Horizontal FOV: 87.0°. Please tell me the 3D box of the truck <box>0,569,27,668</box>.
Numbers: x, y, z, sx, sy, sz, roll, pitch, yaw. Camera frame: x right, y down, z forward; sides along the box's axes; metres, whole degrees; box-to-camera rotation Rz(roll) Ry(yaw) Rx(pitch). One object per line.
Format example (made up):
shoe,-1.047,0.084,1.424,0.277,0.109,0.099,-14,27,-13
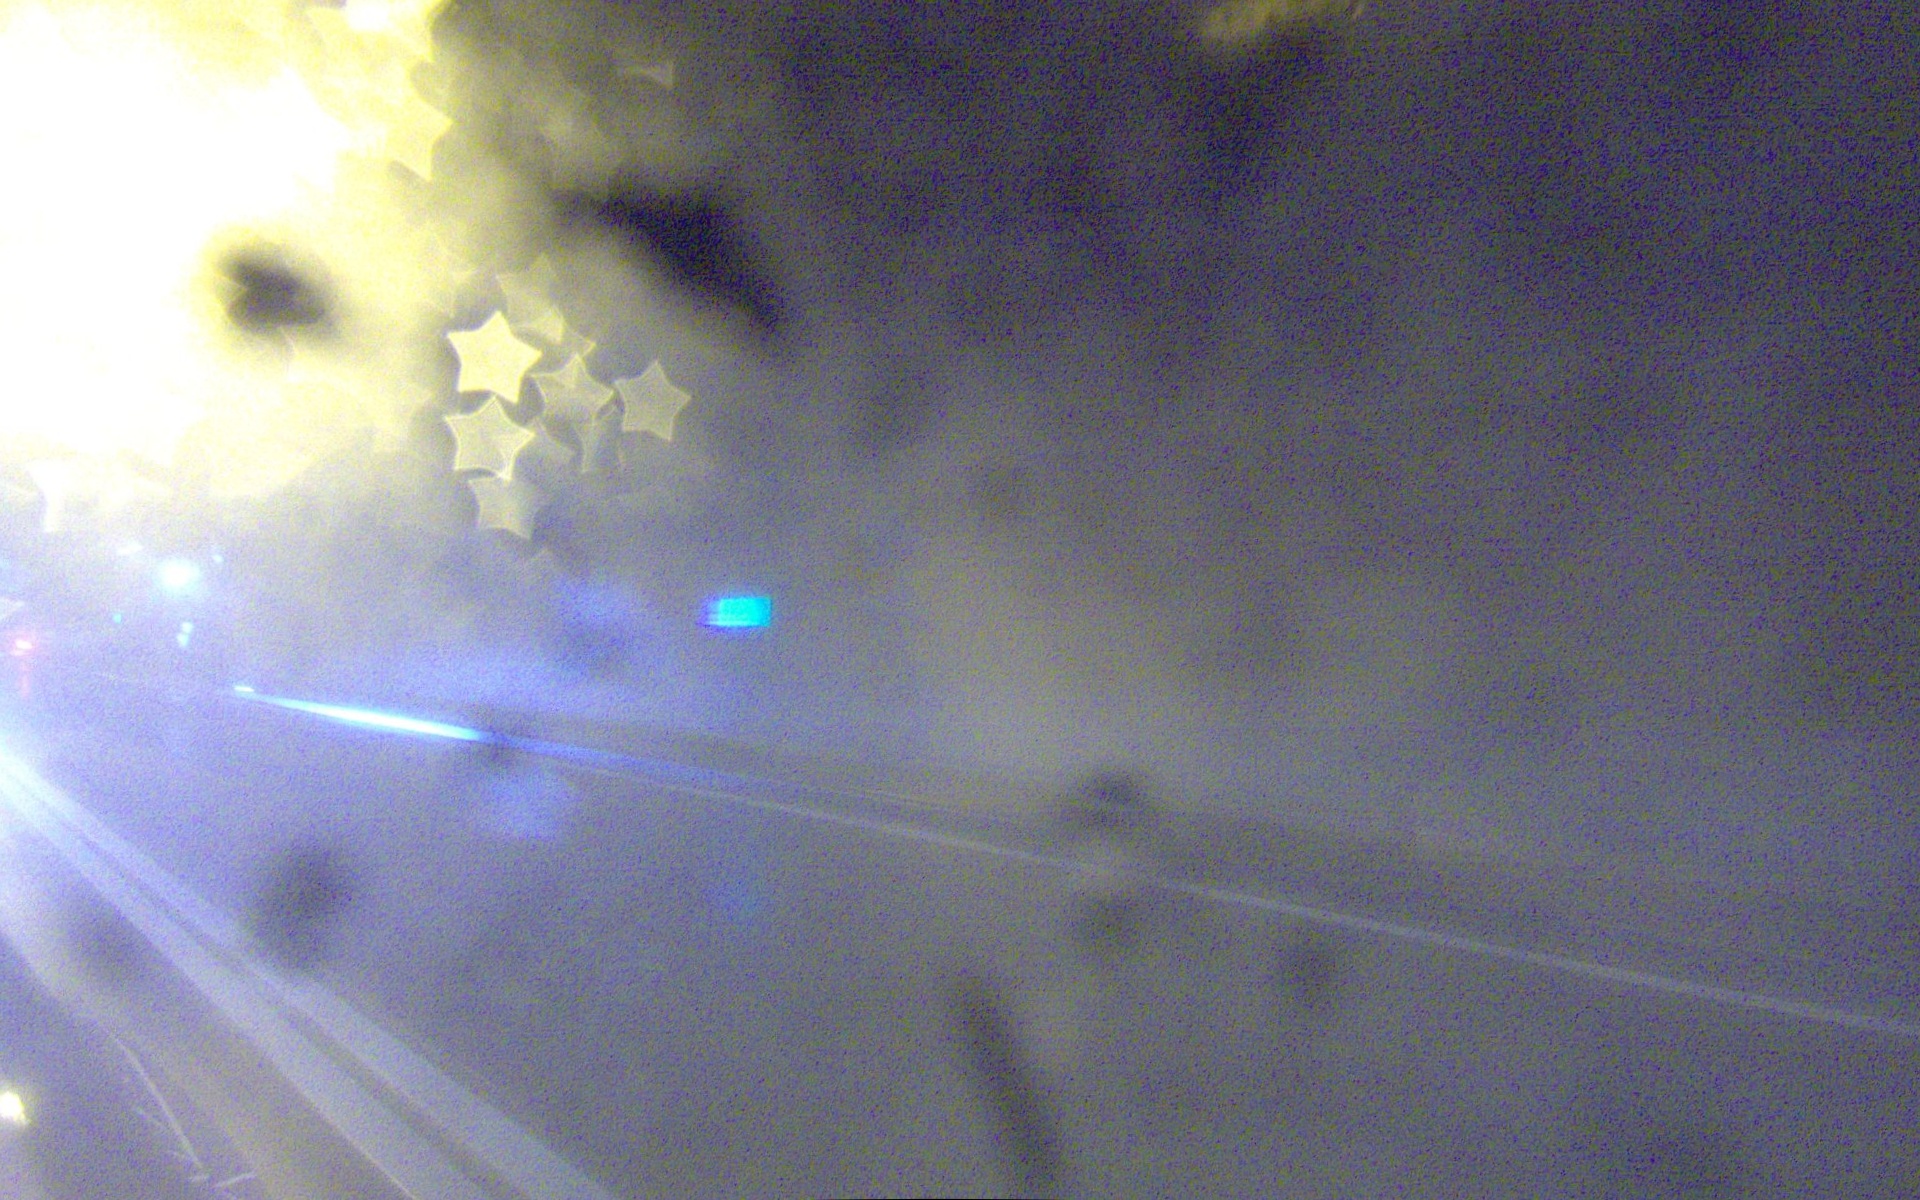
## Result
truck,-32.428,0.640,32.908,6.588,3.039,2.256,-1,0,40
